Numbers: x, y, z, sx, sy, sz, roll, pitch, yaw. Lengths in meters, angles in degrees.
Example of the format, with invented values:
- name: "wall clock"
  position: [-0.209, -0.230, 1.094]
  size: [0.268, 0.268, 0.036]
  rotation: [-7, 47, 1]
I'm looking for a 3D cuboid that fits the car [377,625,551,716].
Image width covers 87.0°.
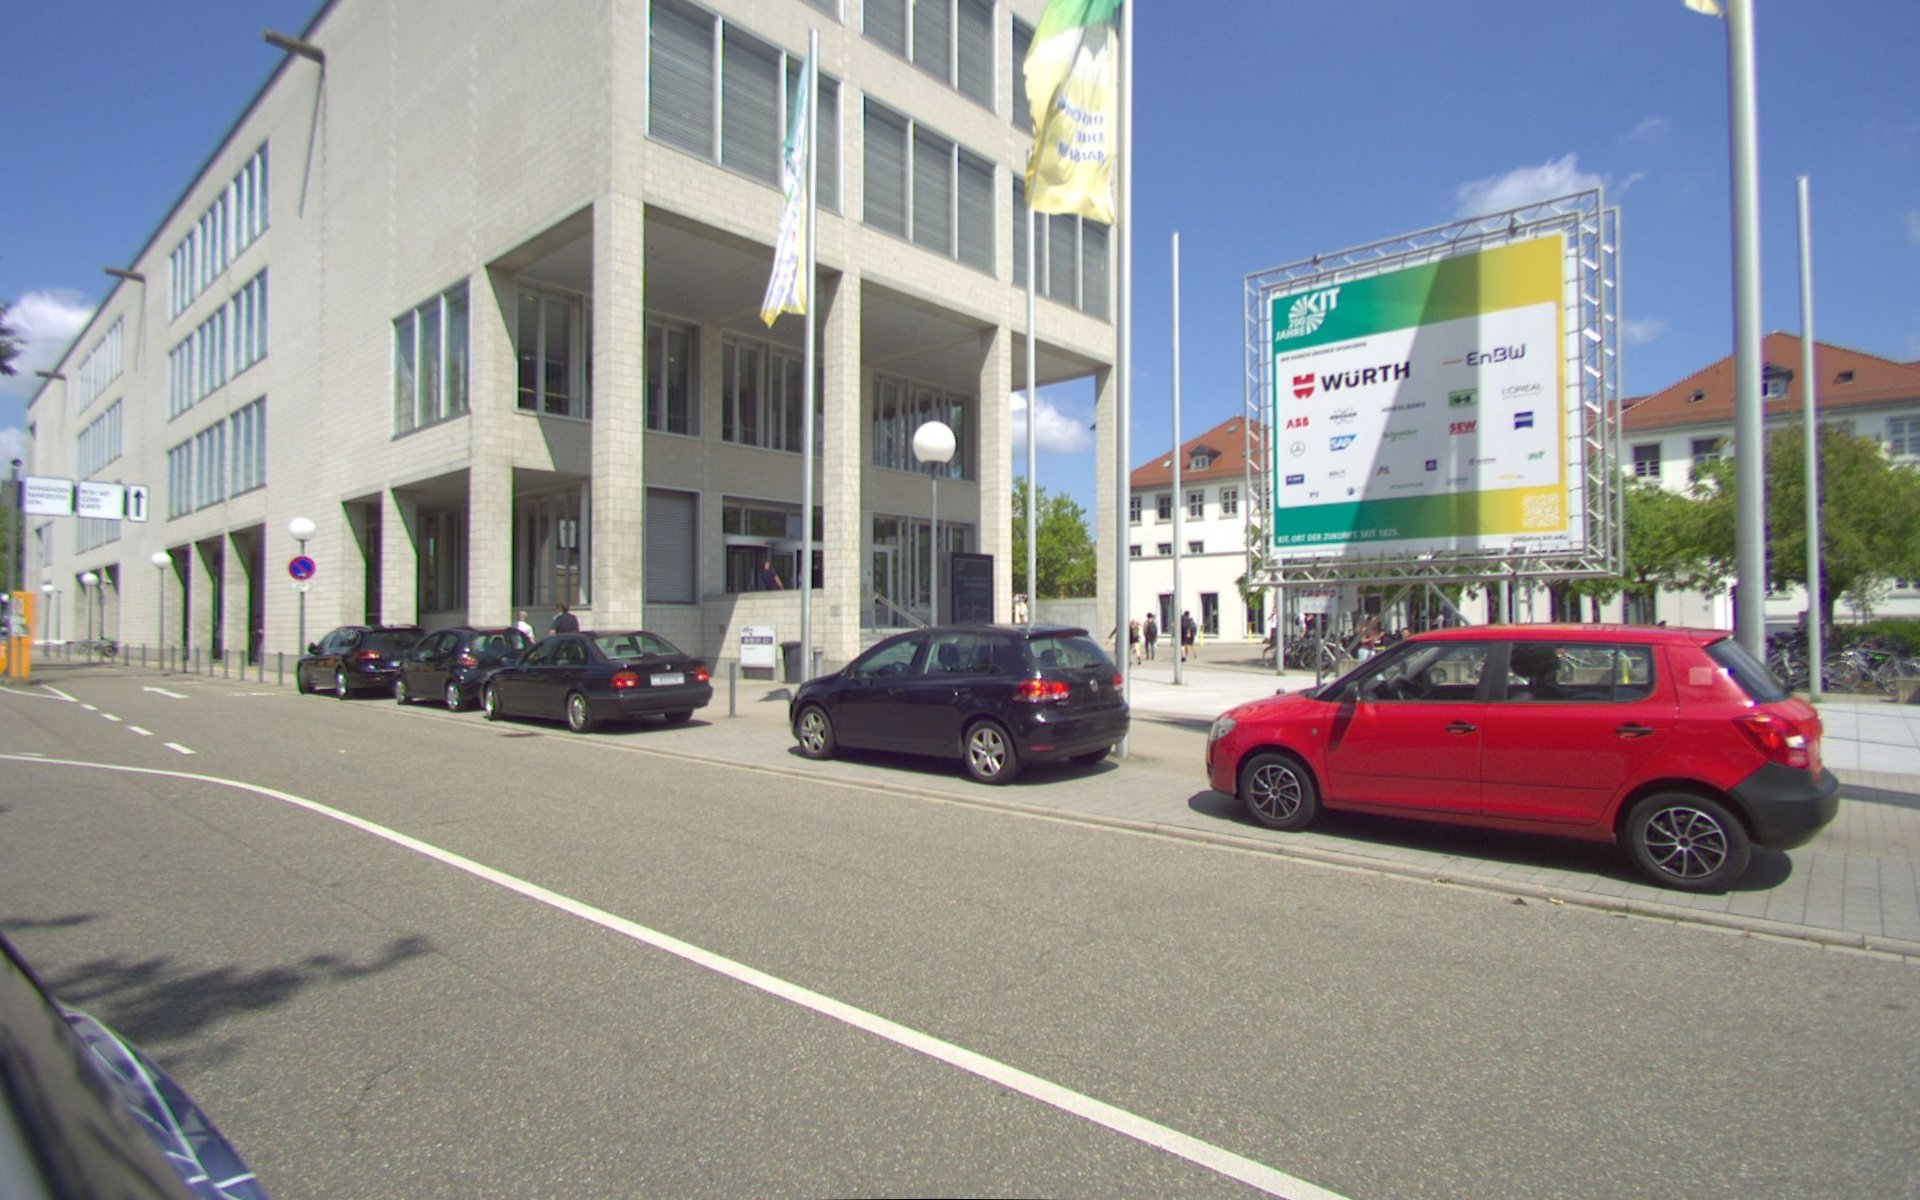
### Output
- name: "car"
  position: [-9.259, 1.240, 18.781]
  size: [3.706, 1.478, 1.621]
  rotation: [-2, 0, 42]

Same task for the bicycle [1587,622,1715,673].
- name: "bicycle"
  position: [20.533, 1.384, 30.166]
  size: [1.048, 1.422, 2.958]
  rotation: [0, -1, -37]

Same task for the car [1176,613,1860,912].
- name: "car"
  position: [3.678, 0.886, 7.115]
  size: [3.911, 1.478, 1.658]
  rotation: [-2, 0, 43]

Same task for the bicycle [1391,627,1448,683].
- name: "bicycle"
  position: [12.617, 1.476, 27.905]
  size: [1.139, 1.422, 2.932]
  rotation: [-1, -1, 19]

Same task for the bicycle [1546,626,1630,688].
- name: "bicycle"
  position: [15.622, 1.368, 25.265]
  size: [1.139, 1.422, 2.932]
  rotation: [-1, -1, 19]

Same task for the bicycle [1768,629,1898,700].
- name: "bicycle"
  position: [19.111, 1.363, 22.269]
  size: [1.139, 1.422, 2.932]
  rotation: [-1, -1, 19]

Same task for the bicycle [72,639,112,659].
- name: "bicycle"
  position: [-49.485, 2.778, 57.700]
  size: [0.607, 1.095, 1.624]
  rotation: [-2, -2, 36]

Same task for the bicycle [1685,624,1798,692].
- name: "bicycle"
  position: [17.825, 1.279, 23.191]
  size: [1.139, 1.422, 2.932]
  rotation: [-1, -1, 19]

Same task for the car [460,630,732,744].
- name: "car"
  position: [-5.669, 1.192, 15.354]
  size: [5.017, 1.388, 1.839]
  rotation: [-2, 0, 44]

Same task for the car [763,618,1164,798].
- name: "car"
  position: [-0.129, 0.981, 10.692]
  size: [4.197, 1.478, 1.728]
  rotation: [-2, 0, 44]

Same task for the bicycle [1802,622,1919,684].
- name: "bicycle"
  position: [22.198, 1.257, 24.252]
  size: [1.049, 1.422, 2.956]
  rotation: [0, -1, -40]

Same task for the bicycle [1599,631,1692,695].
- name: "bicycle"
  position: [16.762, 1.491, 24.852]
  size: [1.139, 1.422, 2.932]
  rotation: [-1, -1, 19]

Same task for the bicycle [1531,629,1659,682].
- name: "bicycle"
  position: [18.254, 1.558, 29.198]
  size: [1.128, 1.422, 2.961]
  rotation: [0, -1, -26]

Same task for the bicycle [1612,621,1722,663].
- name: "bicycle"
  position: [24.619, 1.440, 35.292]
  size: [1.049, 1.422, 2.956]
  rotation: [0, -1, -40]

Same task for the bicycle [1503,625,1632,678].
- name: "bicycle"
  position: [17.174, 1.418, 28.726]
  size: [1.128, 1.422, 2.961]
  rotation: [0, -1, -26]

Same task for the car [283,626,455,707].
- name: "car"
  position: [-12.720, 1.348, 21.644]
  size: [4.717, 1.478, 1.840]
  rotation: [-2, 0, 42]

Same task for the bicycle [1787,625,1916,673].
- name: "bicycle"
  position: [27.775, 1.506, 31.608]
  size: [2.950, 1.422, 1.051]
  rotation: [-2, -2, 41]

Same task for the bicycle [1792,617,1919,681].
- name: "bicycle"
  position: [21.347, 1.109, 23.500]
  size: [1.049, 1.422, 2.956]
  rotation: [0, -1, -40]

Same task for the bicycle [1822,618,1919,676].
- name: "bicycle"
  position: [23.928, 1.186, 25.697]
  size: [1.049, 1.422, 2.956]
  rotation: [0, -1, -40]

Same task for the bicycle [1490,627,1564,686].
- name: "bicycle"
  position: [14.671, 1.425, 26.294]
  size: [1.139, 1.422, 2.932]
  rotation: [-1, -1, 19]

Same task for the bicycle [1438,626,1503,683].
- name: "bicycle"
  position: [13.639, 1.423, 27.135]
  size: [1.139, 1.422, 2.932]
  rotation: [-1, -1, 19]

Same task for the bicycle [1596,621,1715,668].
- name: "bicycle"
  position: [22.384, 1.412, 32.642]
  size: [1.048, 1.422, 2.958]
  rotation: [0, -1, -37]

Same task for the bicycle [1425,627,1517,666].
- name: "bicycle"
  position: [19.746, 1.762, 39.142]
  size: [1.130, 1.422, 2.956]
  rotation: [0, -1, -40]

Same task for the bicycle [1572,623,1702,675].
- name: "bicycle"
  position: [19.653, 1.380, 29.467]
  size: [1.048, 1.422, 2.958]
  rotation: [0, -1, -37]

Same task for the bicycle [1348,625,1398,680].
- name: "bicycle"
  position: [11.532, 1.438, 28.348]
  size: [1.139, 1.422, 2.932]
  rotation: [-1, -1, 19]

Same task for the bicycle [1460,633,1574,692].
- name: "bicycle"
  position: [12.269, 1.360, 22.342]
  size: [2.094, 1.225, 0.642]
  rotation: [-2, -2, 43]

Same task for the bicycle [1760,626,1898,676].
- name: "bicycle"
  position: [26.298, 1.506, 30.713]
  size: [1.047, 1.422, 2.960]
  rotation: [0, -1, -29]

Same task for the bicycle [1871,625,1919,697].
- name: "bicycle"
  position: [19.892, 1.237, 20.499]
  size: [1.057, 1.422, 2.932]
  rotation: [-1, -1, 19]

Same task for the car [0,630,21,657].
- name: "car"
  position: [-58.440, 2.619, 61.440]
  size: [4.405, 1.546, 1.707]
  rotation: [-1, 0, 43]

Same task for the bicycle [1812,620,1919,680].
- name: "bicycle"
  position: [23.057, 1.219, 24.971]
  size: [1.049, 1.422, 2.956]
  rotation: [0, -1, -40]

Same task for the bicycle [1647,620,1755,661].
- name: "bicycle"
  position: [26.678, 1.442, 36.511]
  size: [1.049, 1.422, 2.956]
  rotation: [0, -1, -40]

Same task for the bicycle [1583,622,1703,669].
- name: "bicycle"
  position: [21.517, 1.408, 31.970]
  size: [1.048, 1.422, 2.958]
  rotation: [0, -1, -37]
